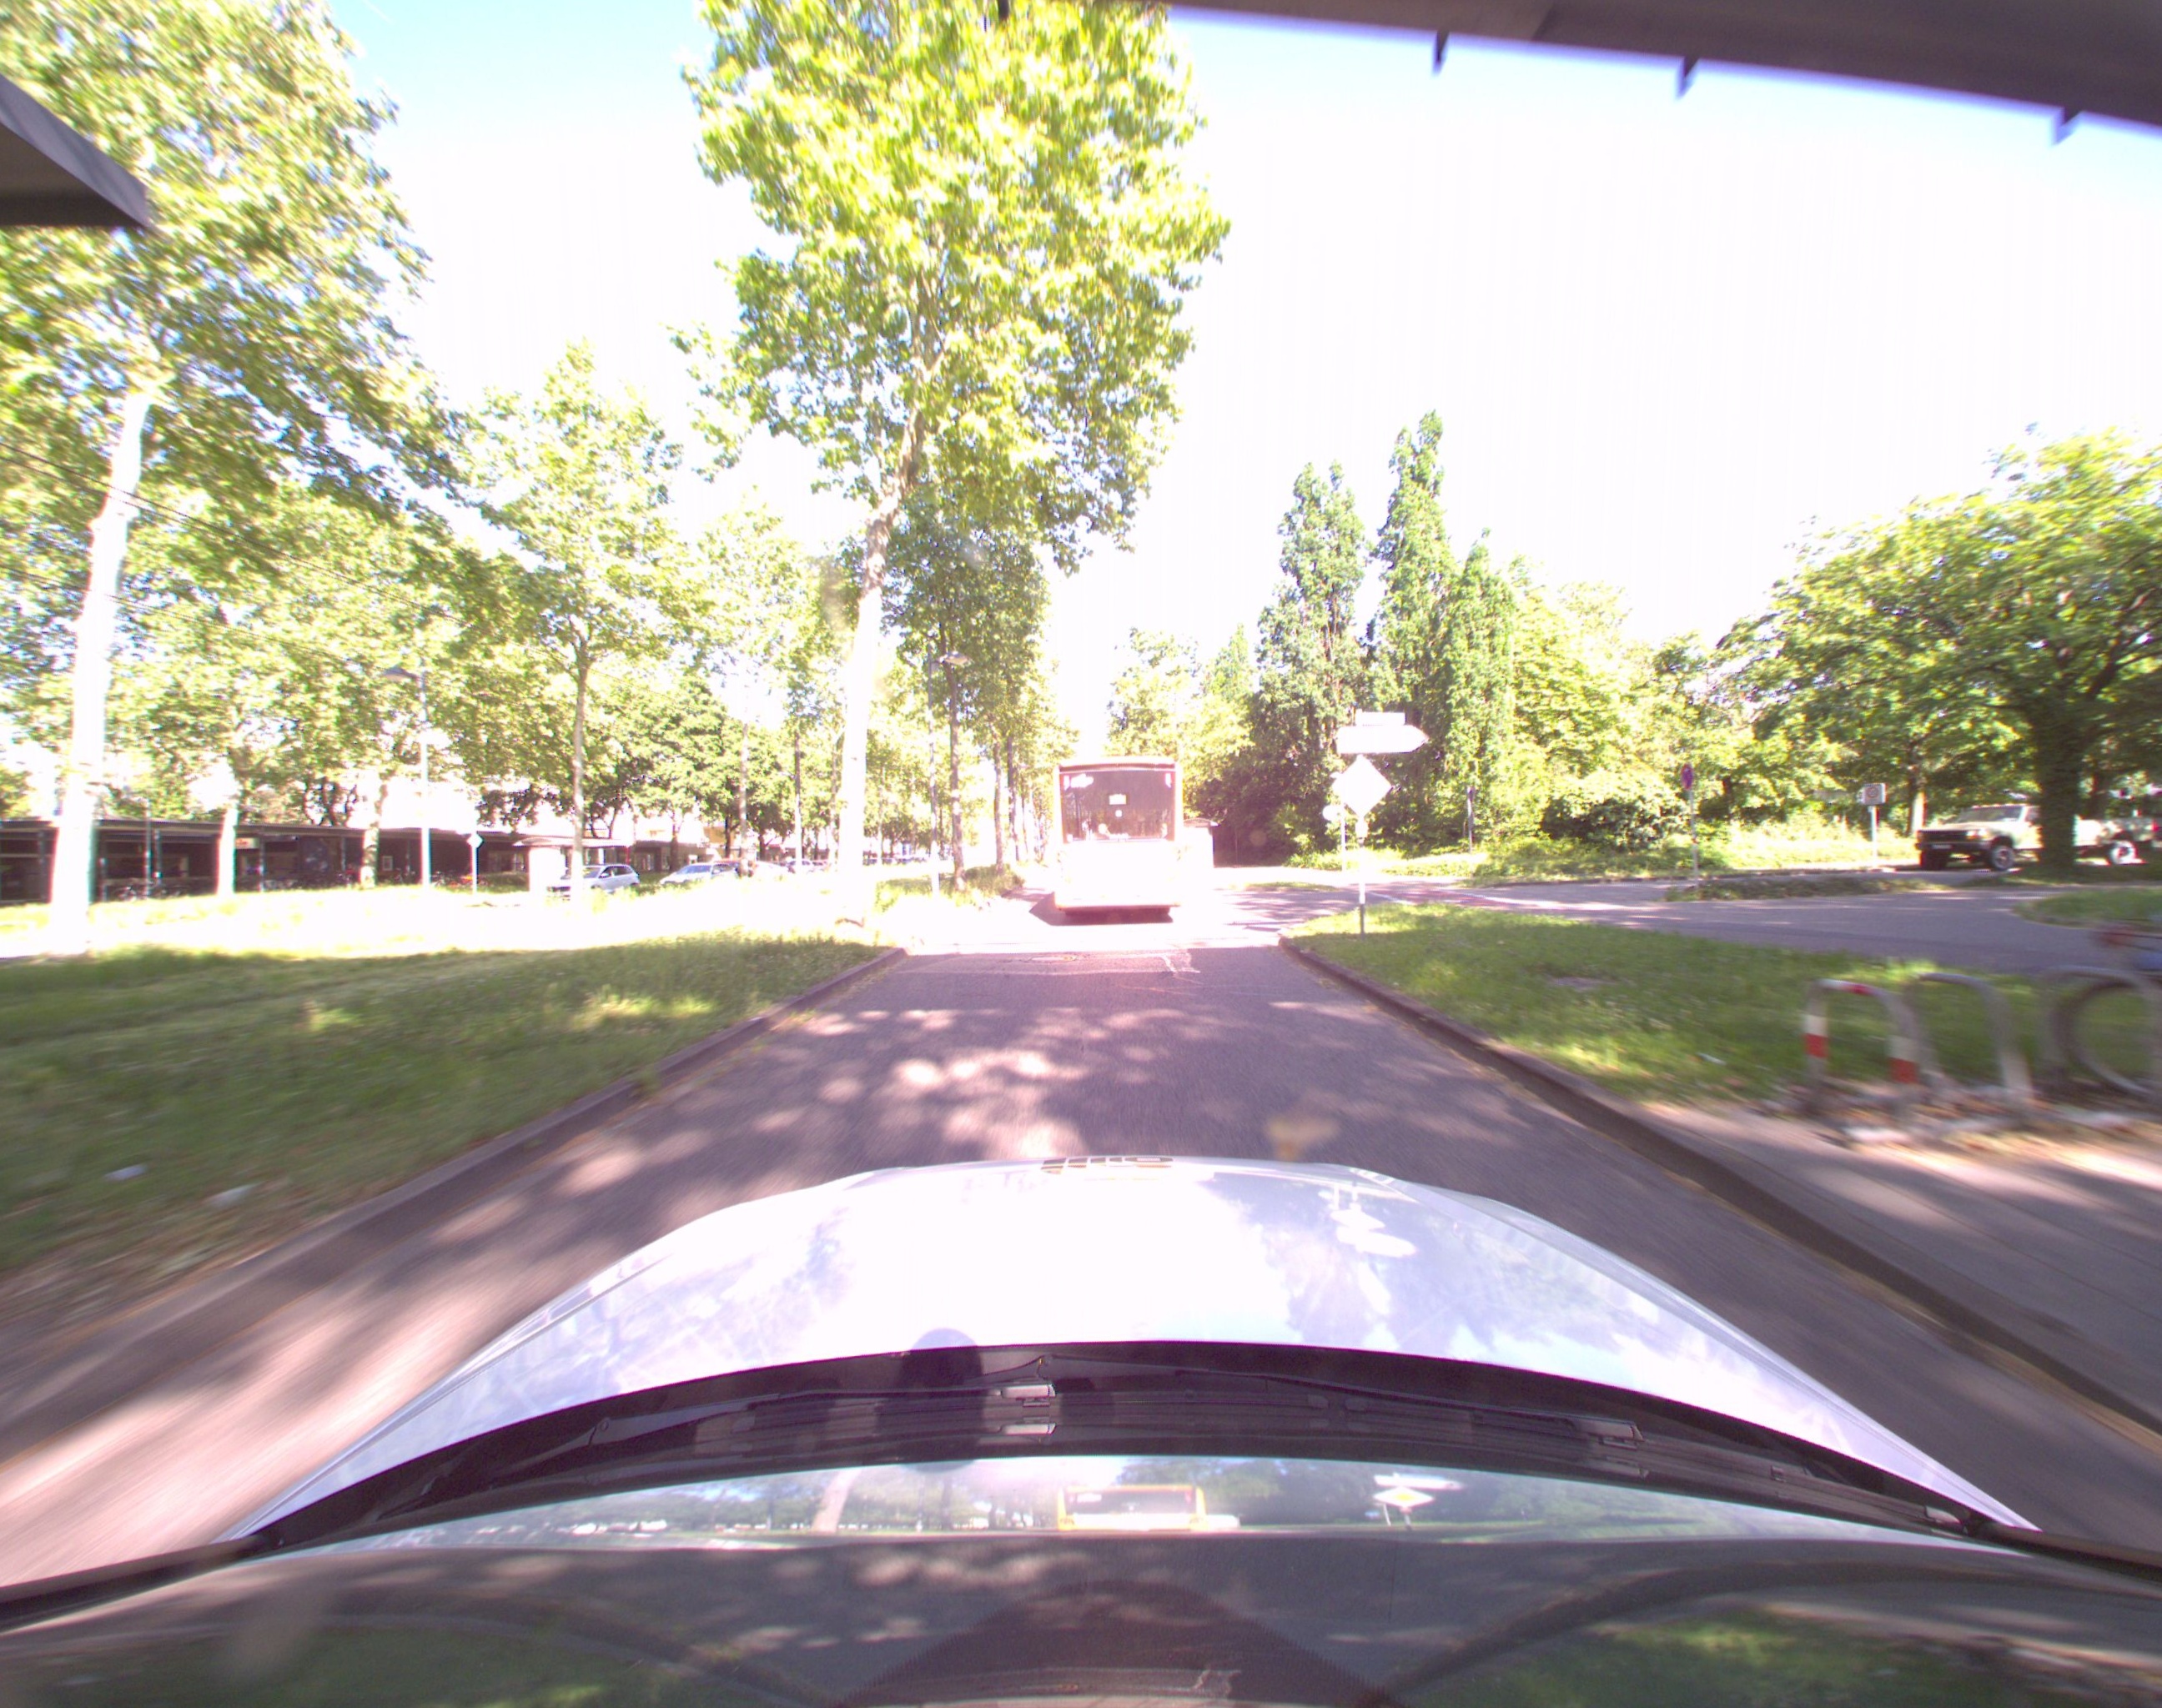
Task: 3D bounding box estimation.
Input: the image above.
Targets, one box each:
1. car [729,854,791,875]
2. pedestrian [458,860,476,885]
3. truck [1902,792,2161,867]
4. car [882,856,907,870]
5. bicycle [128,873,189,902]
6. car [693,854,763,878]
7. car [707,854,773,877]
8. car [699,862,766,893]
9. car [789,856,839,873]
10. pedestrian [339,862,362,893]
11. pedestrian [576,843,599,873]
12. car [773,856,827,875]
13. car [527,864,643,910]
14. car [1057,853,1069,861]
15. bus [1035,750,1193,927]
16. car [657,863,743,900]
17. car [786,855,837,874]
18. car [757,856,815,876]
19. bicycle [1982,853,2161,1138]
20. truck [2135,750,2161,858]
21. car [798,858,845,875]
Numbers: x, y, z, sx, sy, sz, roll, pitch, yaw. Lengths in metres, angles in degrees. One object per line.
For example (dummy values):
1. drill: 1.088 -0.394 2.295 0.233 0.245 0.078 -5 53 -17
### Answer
1. car: -24.712 0.802 62.757 1.778 1.510 4.024 -2 0 45
2. pedestrian: -41.964 1.234 55.673 0.647 1.661 0.649 -2 0 -4
3. truck: 30.600 -0.763 26.239 6.616 2.094 2.116 -2 -1 -6
4. car: -22.667 1.093 99.121 1.786 1.510 4.005 -2 0 5
5. bicycle: -37.221 1.343 32.897 0.554 1.107 1.796 -2 0 -7
6. car: -24.304 0.819 56.148 1.778 1.510 4.024 -2 0 45
7. car: -24.660 0.810 59.018 1.778 1.510 4.024 -2 0 45
8. car: -19.243 1.255 45.159 1.787 1.510 4.004 -2 0 3
9. car: -25.143 0.971 76.714 1.778 1.510 4.024 -2 0 45
10. pedestrian: -41.020 1.310 45.717 0.647 1.661 0.649 -2 0 -4
11. pedestrian: -24.406 0.210 40.277 0.645 1.460 0.651 -2 0 3
12. car: -24.099 0.965 69.921 1.778 1.510 4.024 -2 0 45
13. car: -19.416 1.243 32.110 1.787 1.580 4.290 -2 0 2
14. car: -3.634 0.603 164.937 1.978 1.643 4.137 1 1 3
15. bus: 0.724 -0.309 21.519 2.890 3.266 12.219 -2 0 1
16. car: -17.642 1.213 37.981 1.789 1.510 4.673 -2 0 -1
17. car: -24.302 0.954 73.535 1.778 1.510 4.024 -2 0 45
18. car: -23.992 0.975 66.242 4.022 1.510 1.778 -2 0 -42
19. bicycle: 4.937 0.625 3.271 0.588 1.182 1.800 -5 1 1
20. truck: 40.338 -1.820 27.061 7.918 3.627 2.618 -2 -1 -5
21. car: -25.391 1.192 79.744 1.778 1.510 4.024 -2 0 45
